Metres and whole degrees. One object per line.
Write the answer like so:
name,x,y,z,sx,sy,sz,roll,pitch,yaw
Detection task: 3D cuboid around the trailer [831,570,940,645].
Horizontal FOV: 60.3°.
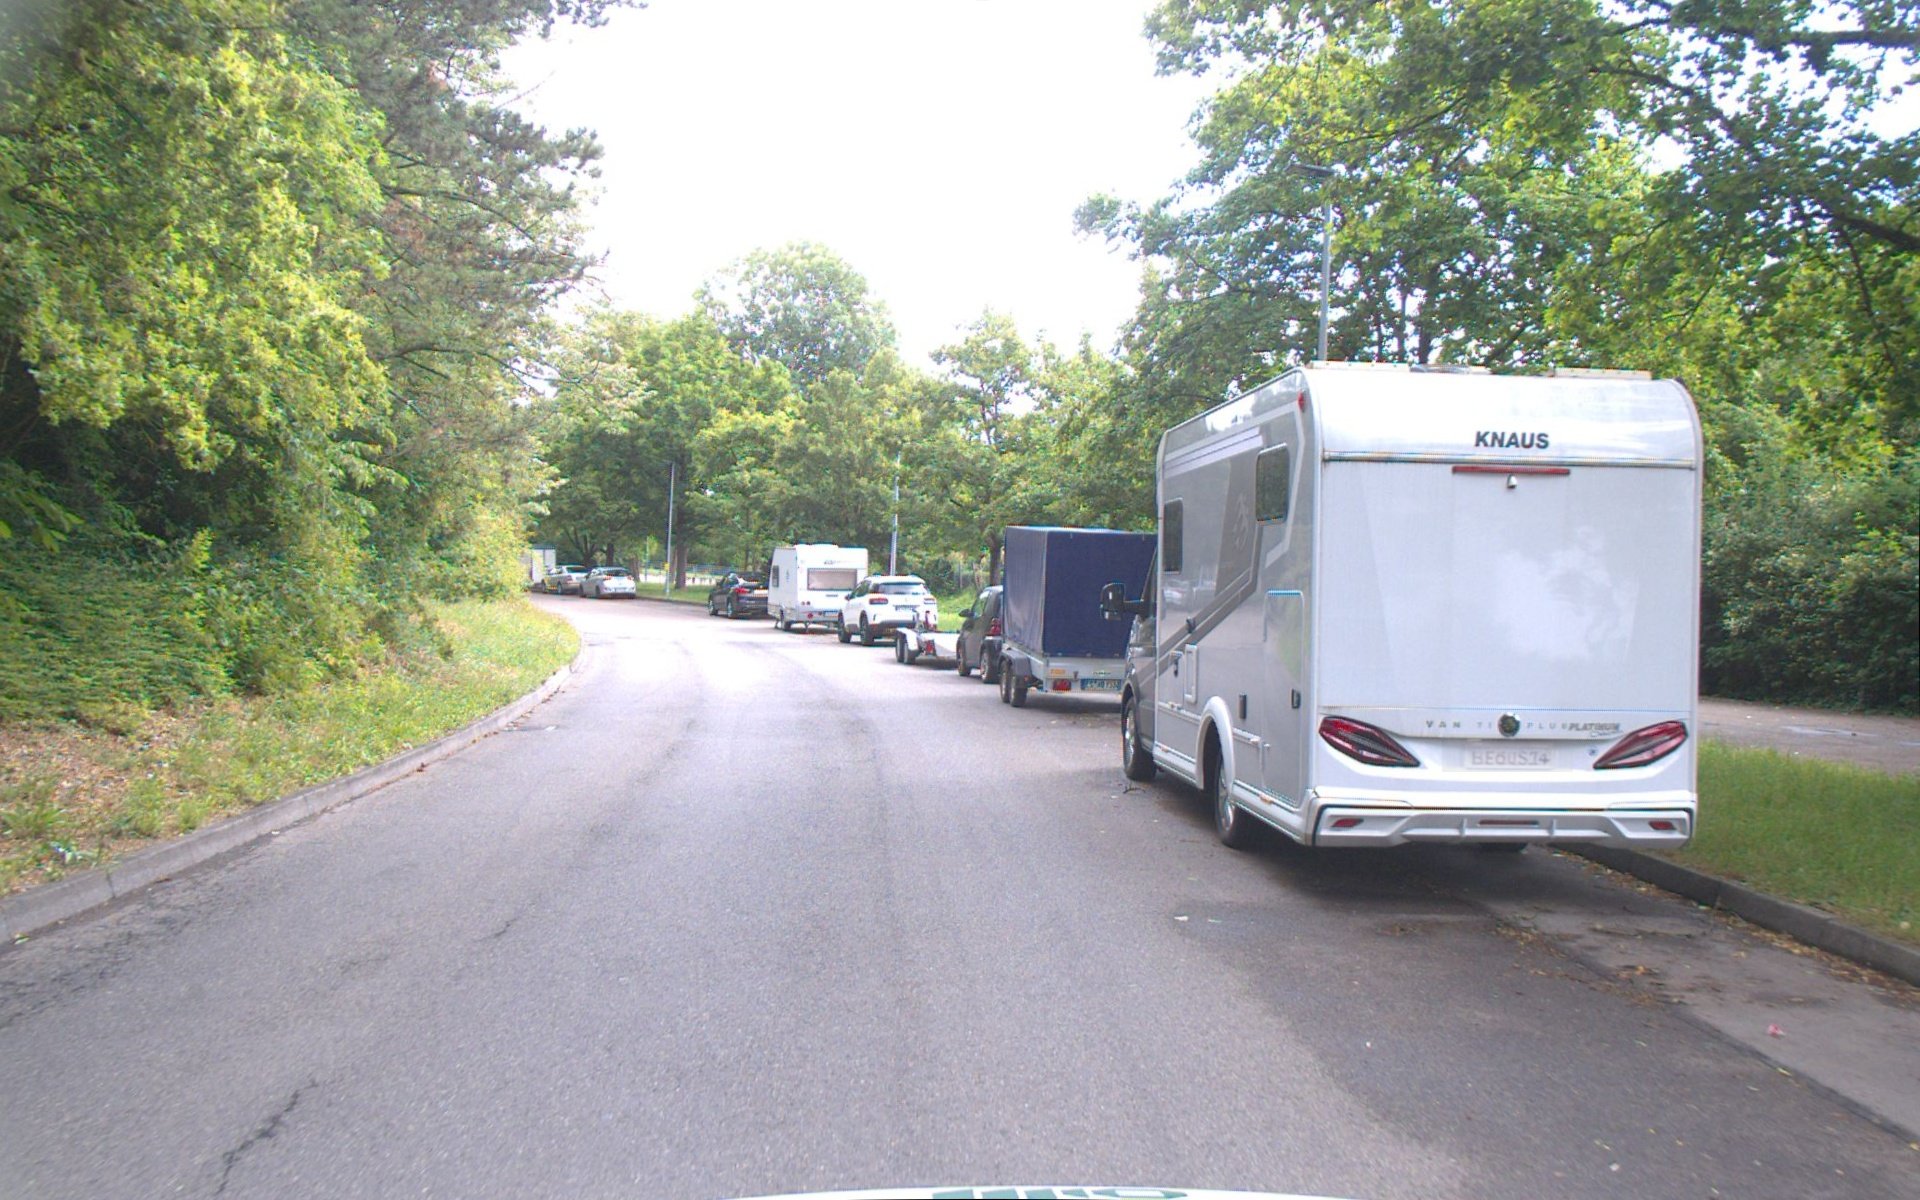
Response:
trailer,-1.935,0.171,41.671,1.743,1.761,4.630,-1,0,-16

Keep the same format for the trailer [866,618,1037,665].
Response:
trailer,-0.313,0.794,33.475,2.068,0.662,6.379,2,0,-13

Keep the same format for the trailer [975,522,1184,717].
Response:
trailer,1.517,0.127,22.846,2.066,2.402,4.696,-1,3,-6

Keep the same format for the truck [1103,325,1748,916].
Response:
truck,2.692,0.062,11.940,2.258,2.984,7.028,0,1,-4

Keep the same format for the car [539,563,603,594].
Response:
car,-19.842,-1.123,84.214,1.725,1.551,4.583,0,1,-33

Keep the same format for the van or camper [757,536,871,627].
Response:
van or camper,-4.542,-0.572,50.508,2.128,2.580,6.001,2,0,-18

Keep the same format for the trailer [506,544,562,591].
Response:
trailer,-22.835,-1.764,88.643,1.745,2.469,3.842,0,2,-34

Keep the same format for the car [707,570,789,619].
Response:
car,-7.701,-0.233,59.701,1.823,1.671,4.499,0,1,-23

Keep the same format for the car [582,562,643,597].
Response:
car,-16.505,-0.941,78.427,1.879,1.502,4.025,2,-2,-26

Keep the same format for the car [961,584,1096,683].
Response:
car,1.096,0.567,27.977,1.697,1.549,3.398,1,-1,-8
